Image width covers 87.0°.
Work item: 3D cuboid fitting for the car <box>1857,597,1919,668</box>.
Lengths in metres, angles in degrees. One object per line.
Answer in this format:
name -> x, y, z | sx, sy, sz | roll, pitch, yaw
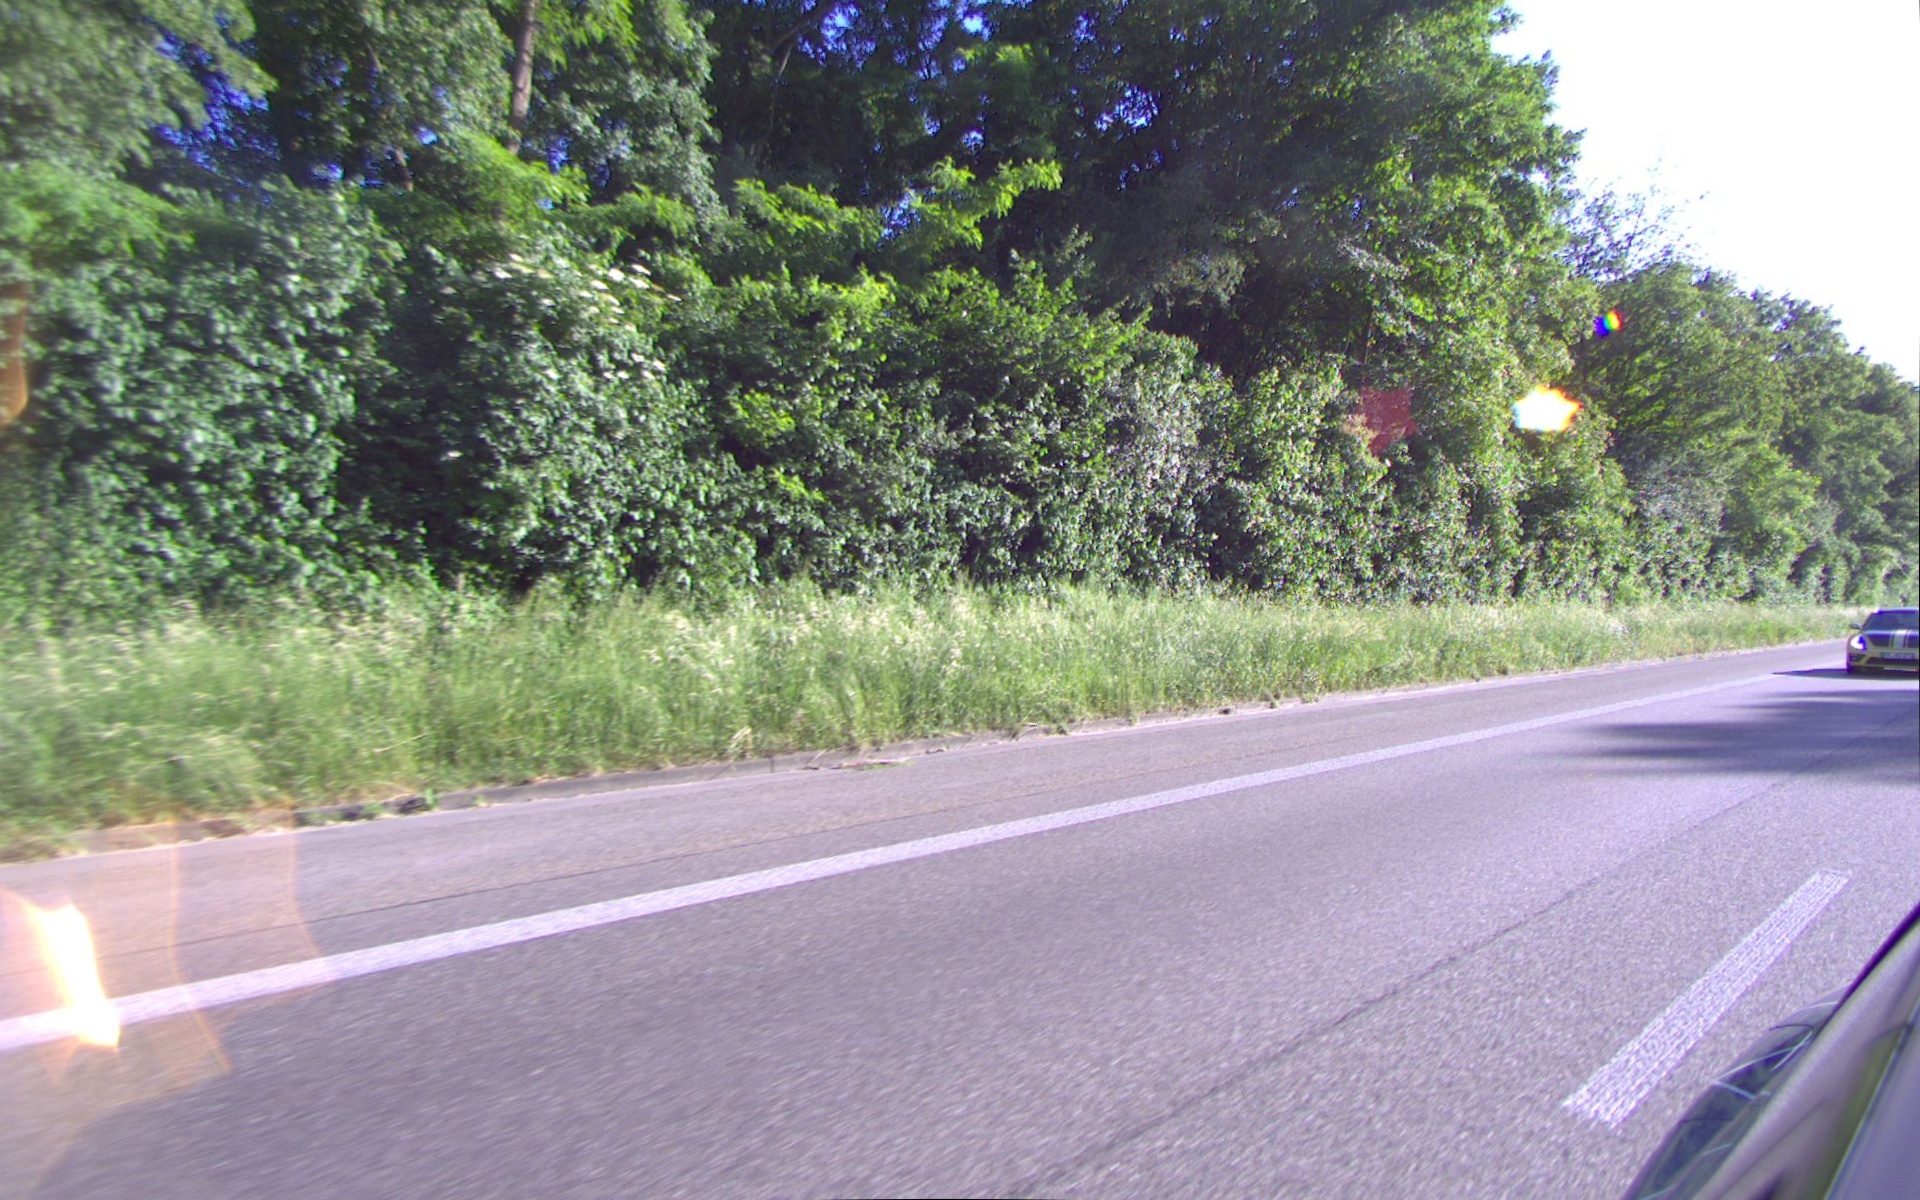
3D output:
car -> 21.352, 0.684, 22.420 | 3.811, 1.467, 1.793 | 0, 0, -42
